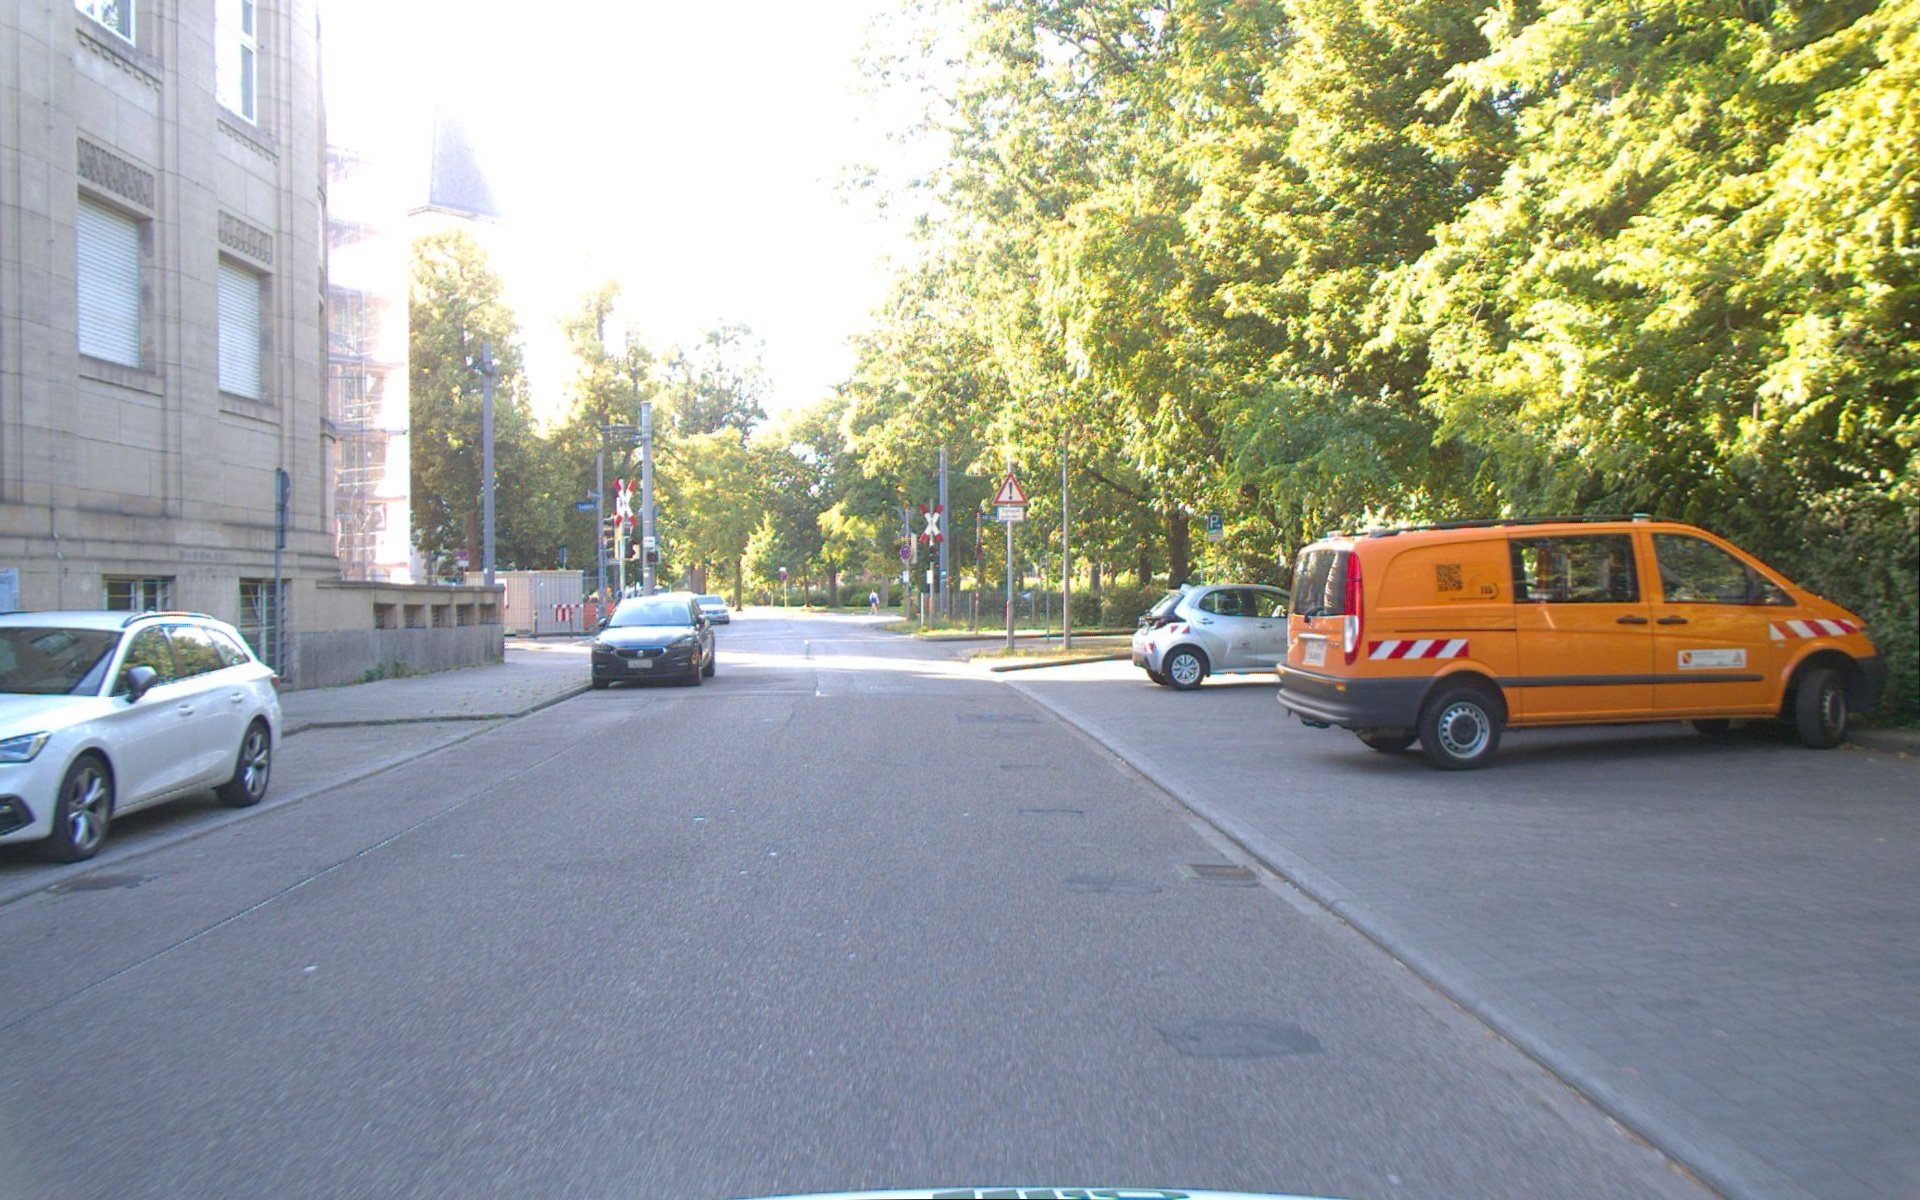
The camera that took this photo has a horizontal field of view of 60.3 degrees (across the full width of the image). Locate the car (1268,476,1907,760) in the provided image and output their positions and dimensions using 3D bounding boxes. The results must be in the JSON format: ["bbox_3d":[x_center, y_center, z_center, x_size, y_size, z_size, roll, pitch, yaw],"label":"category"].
[{"bbox_3d":[5.308,0.116,14.373,4.704,2.032,2.078,-3,0,-6],"label":"car"}]

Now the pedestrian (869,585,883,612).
[{"bbox_3d":[-5.183,-0.088,101.981,0.758,1.602,0.766,-1,0,-7],"label":"pedestrian"}]

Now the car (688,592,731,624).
[{"bbox_3d":[-12.322,0.363,81.341,1.749,1.440,4.484,-3,1,-12],"label":"car"}]

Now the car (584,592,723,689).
[{"bbox_3d":[-5.108,0.630,28.047,1.709,1.473,4.206,-1,0,-2],"label":"car"}]

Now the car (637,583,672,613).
[{"bbox_3d":[-21.061,-0.169,113.907,1.822,1.980,4.818,-1,0,-17],"label":"car"}]

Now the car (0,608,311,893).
[{"bbox_3d":[-5.982,0.812,11.029,1.709,1.460,4.558,0,0,-3],"label":"car"}]

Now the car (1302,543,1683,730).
[{"bbox_3d":[5.421,0.347,17.118,3.328,1.660,1.679,-3,0,-2],"label":"car"}]

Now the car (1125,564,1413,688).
[{"bbox_3d":[4.573,0.366,24.818,3.907,1.573,1.734,-3,0,-2],"label":"car"}]
